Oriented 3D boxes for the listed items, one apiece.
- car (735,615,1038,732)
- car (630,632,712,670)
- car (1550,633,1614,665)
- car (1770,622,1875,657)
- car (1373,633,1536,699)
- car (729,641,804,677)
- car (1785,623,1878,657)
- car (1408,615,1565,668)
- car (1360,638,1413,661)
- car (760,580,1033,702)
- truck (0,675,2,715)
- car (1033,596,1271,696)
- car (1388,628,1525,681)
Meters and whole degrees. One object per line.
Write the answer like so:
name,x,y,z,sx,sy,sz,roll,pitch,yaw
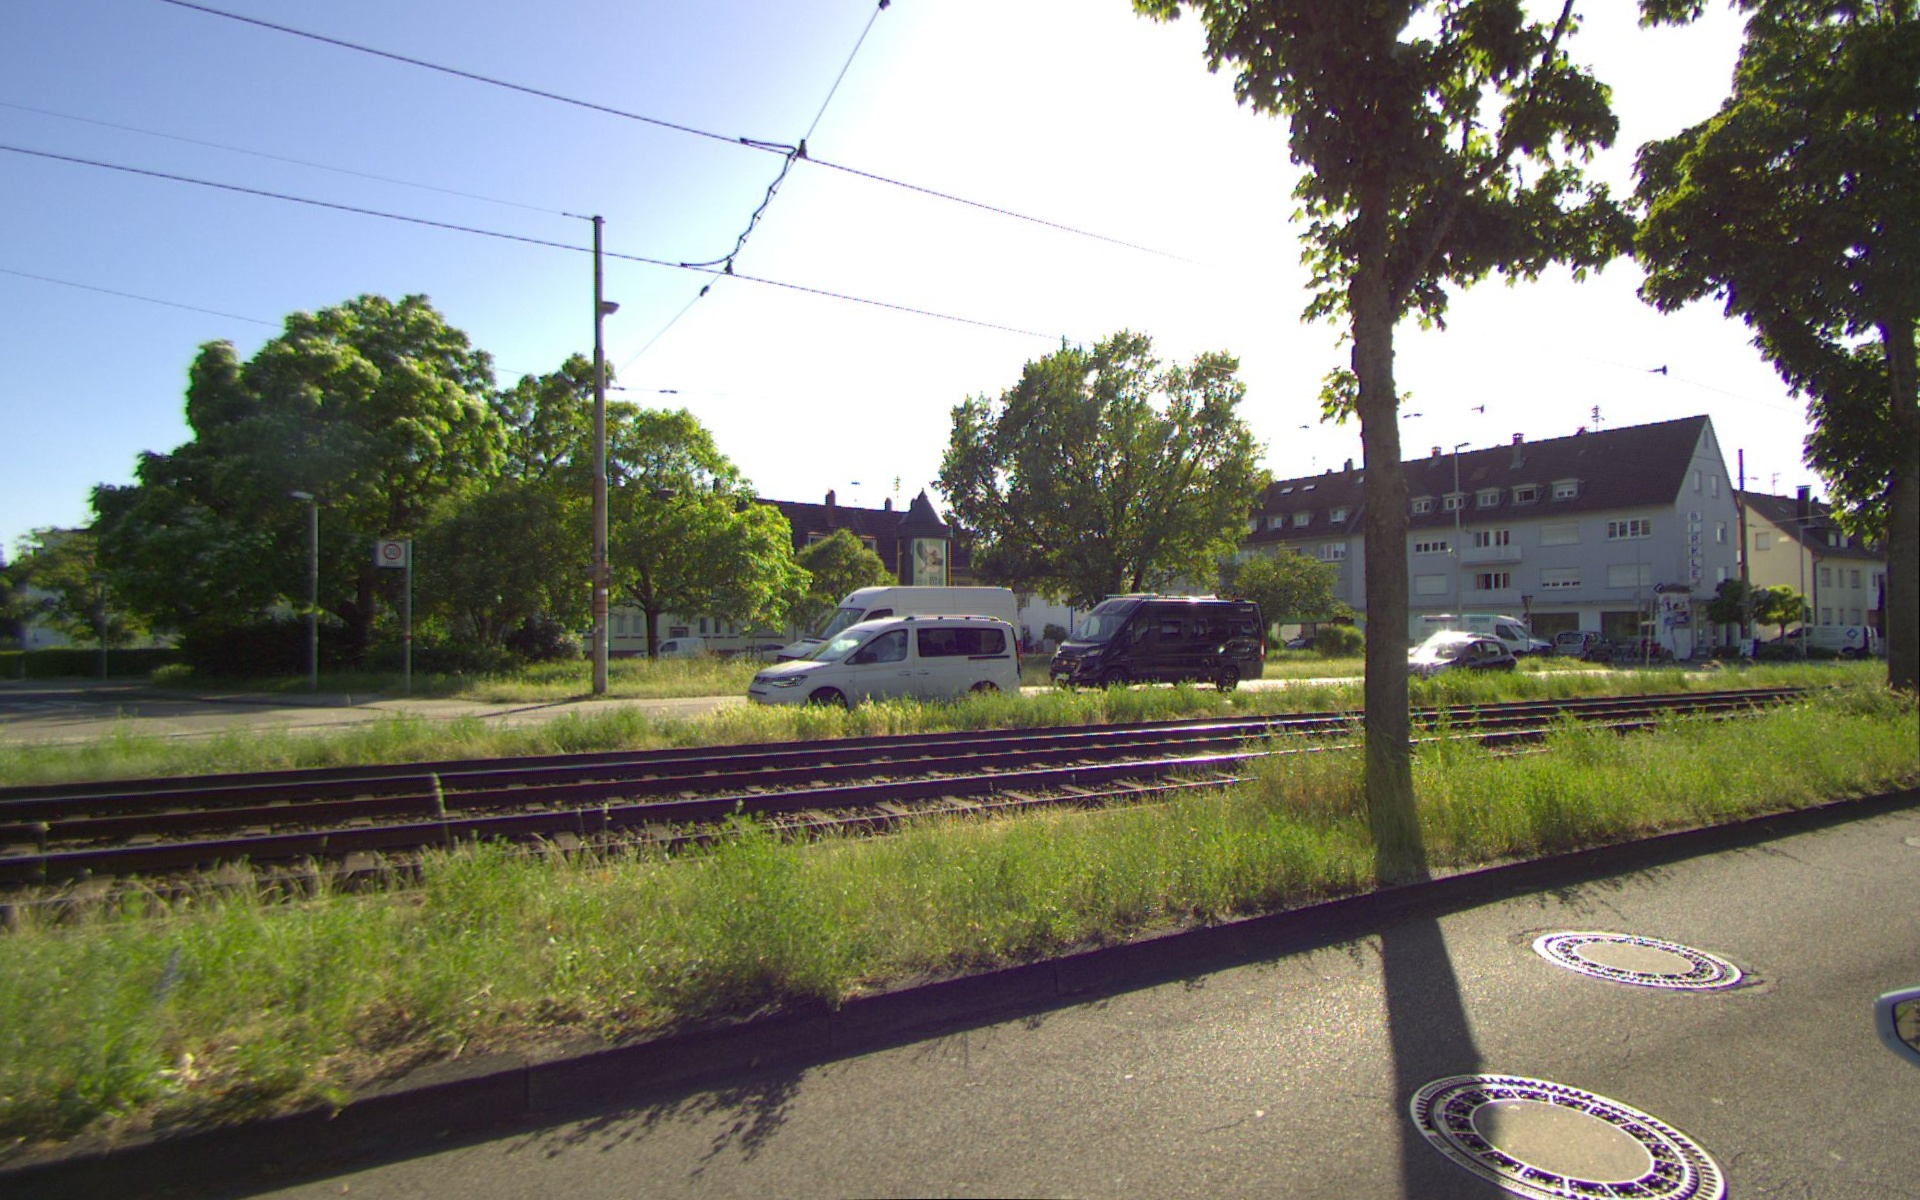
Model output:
car,-1.193,1.202,17.279,4.923,1.767,1.802,2,-1,-30
car,-16.332,2.888,56.870,3.966,2.040,1.978,2,-1,-39
car,34.788,2.737,56.161,4.065,1.692,1.781,2,-1,-39
car,52.102,2.360,60.761,1.984,1.971,4.579,2,-2,-40
car,12.640,1.628,25.682,3.705,1.551,1.985,1,-2,-29
car,-11.635,3.532,60.336,3.960,2.040,1.980,2,-1,-35
car,53.999,2.444,62.261,1.984,1.978,4.103,2,-2,-40
car,27.214,2.087,52.222,2.306,2.540,7.023,1,-1,-34
car,27.694,3.185,65.234,3.595,1.468,1.519,1,-2,-36
car,-1.381,0.949,23.267,6.067,2.529,1.992,2,-1,-31
truck,-44.703,4.224,45.322,3.839,1.695,1.877,0,-1,43
car,5.211,1.212,26.874,6.389,2.407,2.172,2,-1,-30
car,16.711,1.809,33.761,4.717,1.628,1.814,2,-1,-30
